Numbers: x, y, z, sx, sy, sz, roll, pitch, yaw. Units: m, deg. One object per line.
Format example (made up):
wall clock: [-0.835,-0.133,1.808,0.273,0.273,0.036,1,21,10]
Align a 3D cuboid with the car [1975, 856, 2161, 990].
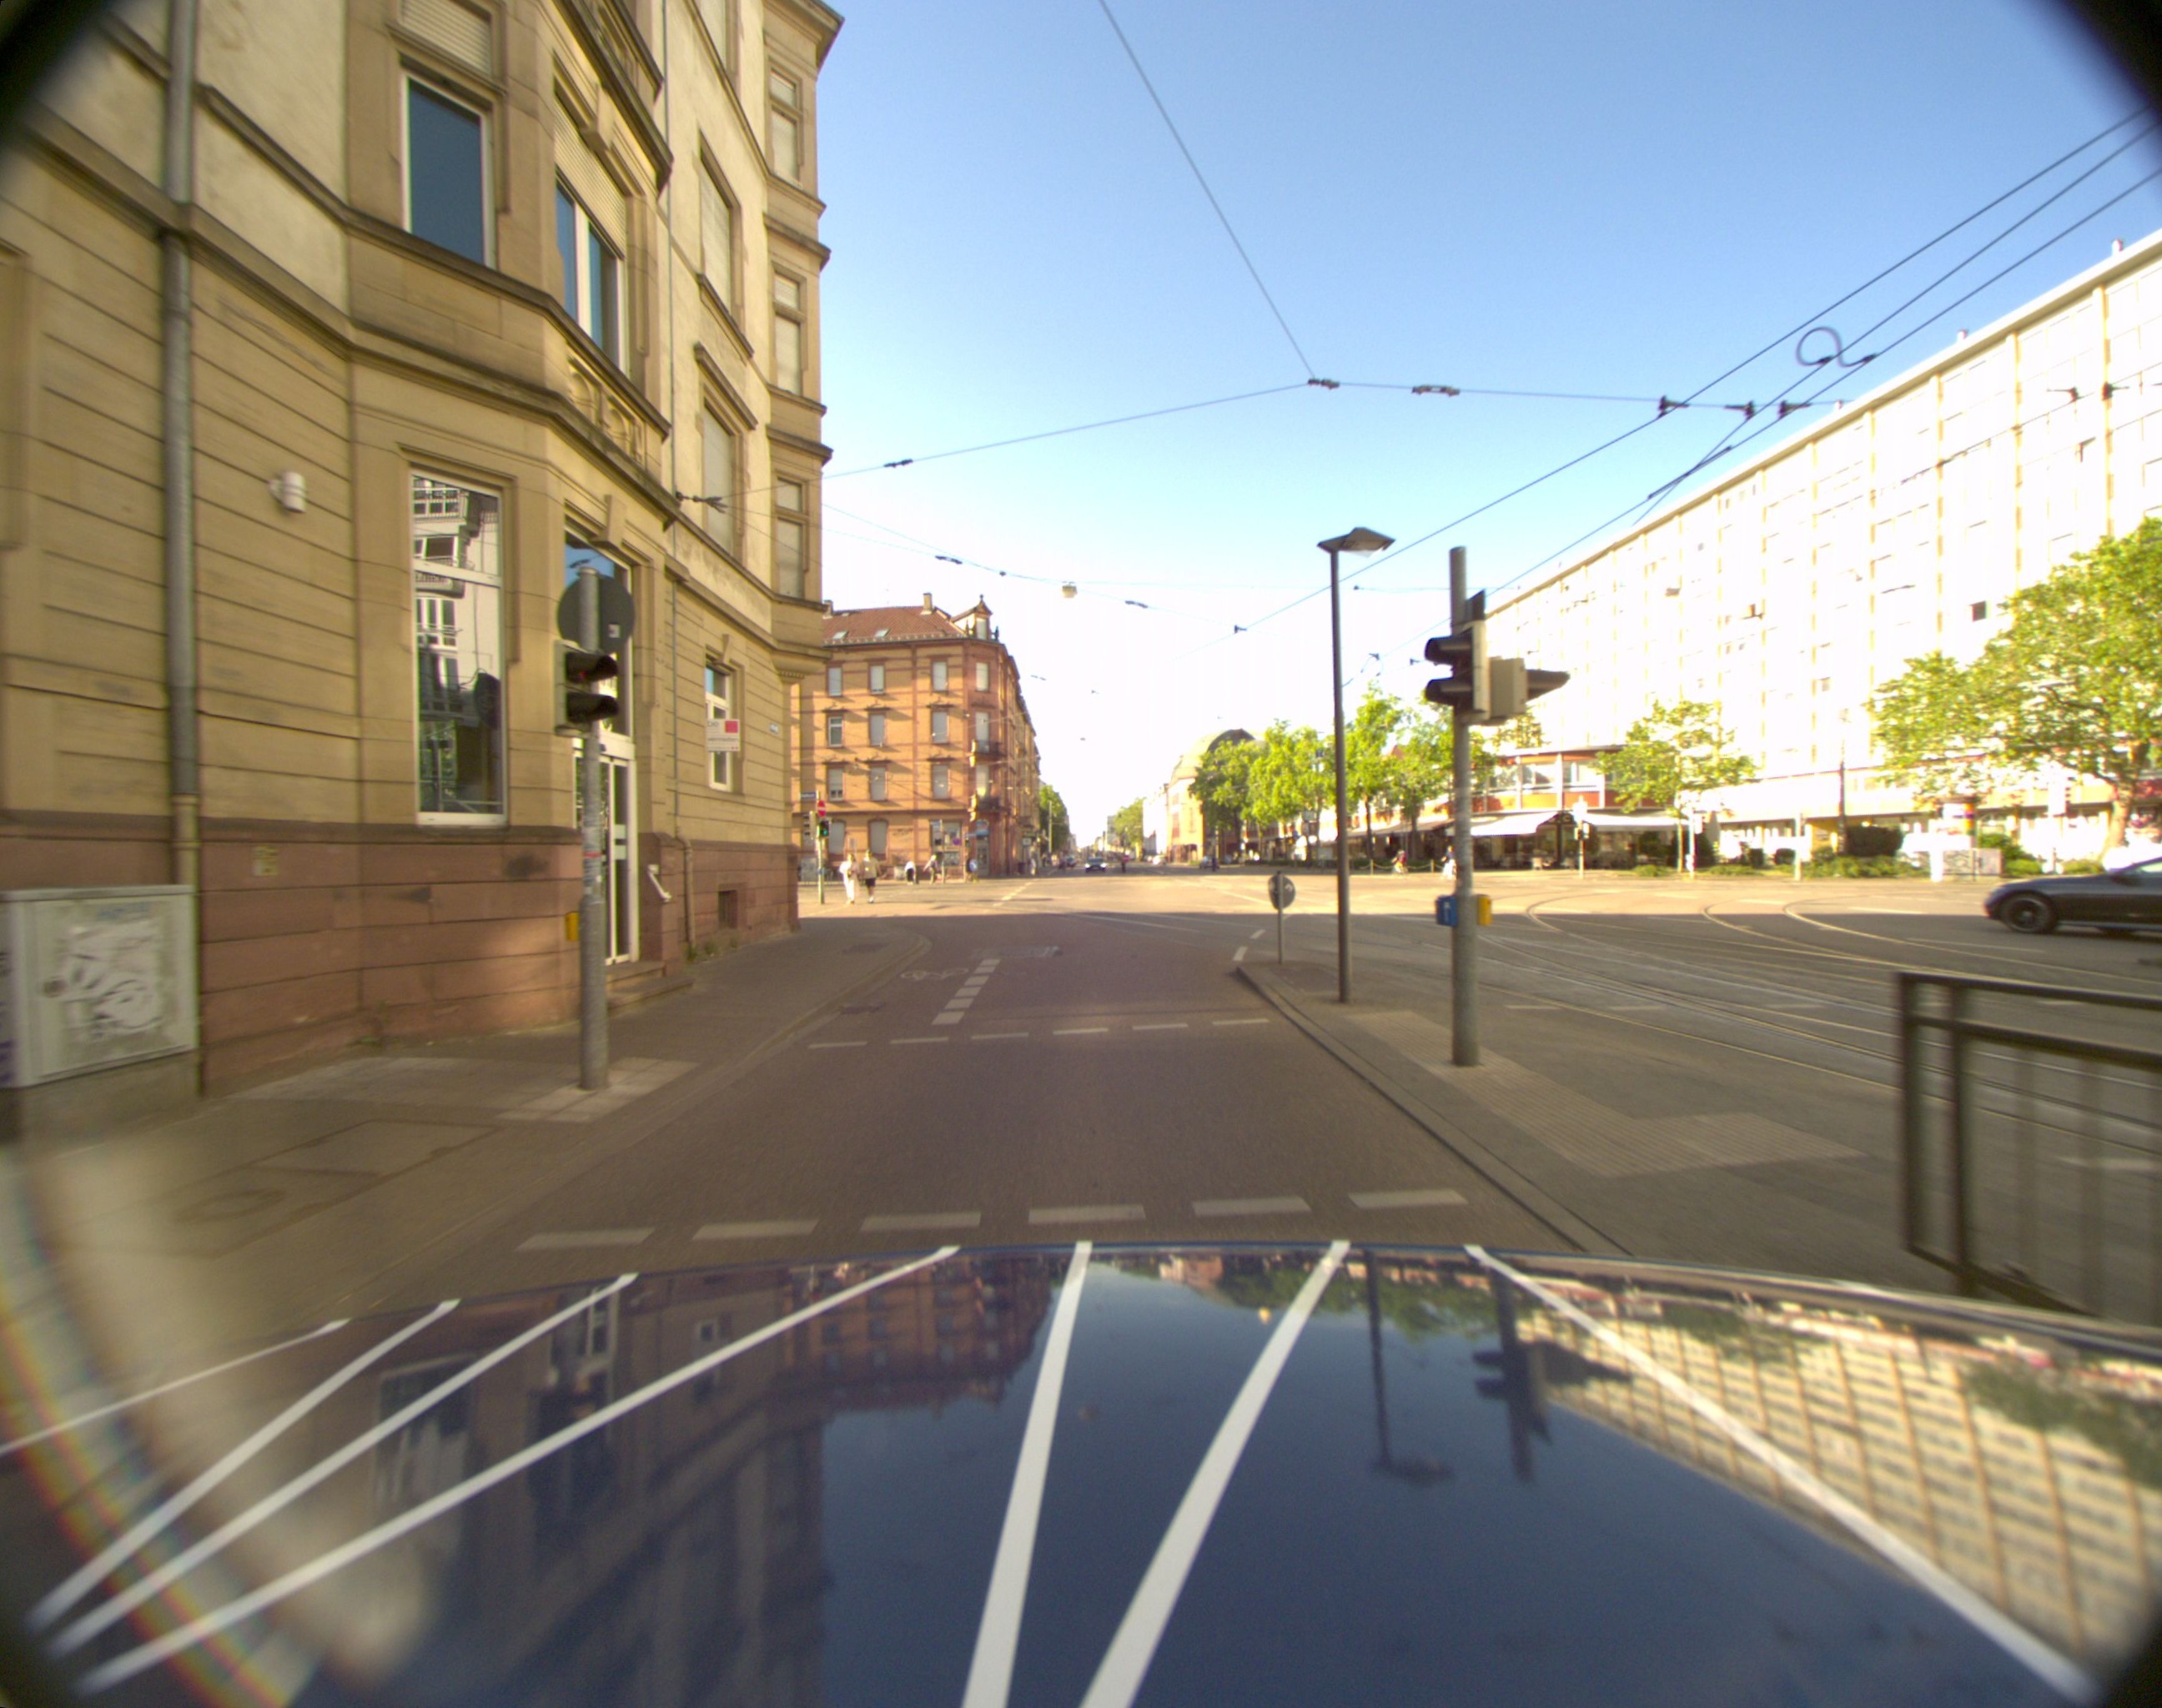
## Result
car: [16.732,1.006,10.957,2.233,1.900,4.608,0,1,0]

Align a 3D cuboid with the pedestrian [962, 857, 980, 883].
pedestrian: [-6.687,0.969,46.266,0.633,1.529,0.943,1,2,32]

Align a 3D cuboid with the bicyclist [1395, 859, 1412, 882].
bicyclist: [18.894,0.952,44.576,0.590,1.278,0.927,0,2,1]

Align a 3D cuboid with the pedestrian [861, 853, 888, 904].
pedestrian: [-6.758,0.792,24.896,0.702,1.645,0.632,0,2,3]

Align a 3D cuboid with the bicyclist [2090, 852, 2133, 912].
bicyclist: [26.470,0.708,19.514,0.929,1.479,0.589,-1,2,-34]

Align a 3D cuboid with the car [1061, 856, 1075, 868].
car: [-1.689,1.011,97.923,1.694,1.442,4.359,-2,0,0]

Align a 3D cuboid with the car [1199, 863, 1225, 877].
car: [14.513,1.719,84.104,1.999,1.443,4.649,0,0,-1]

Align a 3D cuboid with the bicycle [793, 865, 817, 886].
bicycle: [-16.233,1.234,44.696,0.650,1.202,2.311,0,-1,-2]

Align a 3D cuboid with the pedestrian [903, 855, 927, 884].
pedestrian: [-9.386,0.866,42.898,0.927,1.623,1.006,-1,2,-40]

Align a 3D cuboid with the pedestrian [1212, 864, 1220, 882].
pedestrian: [11.663,1.635,65.606,0.501,1.509,0.859,2,1,0]

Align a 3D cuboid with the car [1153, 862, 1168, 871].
car: [13.299,2.081,127.741,1.999,1.443,4.501,0,0,-1]

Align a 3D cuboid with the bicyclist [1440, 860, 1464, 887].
bicyclist: [17.977,0.923,36.865,0.590,1.278,0.991,0,2,-6]

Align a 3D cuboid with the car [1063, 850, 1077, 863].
car: [-1.634,0.363,110.052,1.694,1.703,4.616,-2,1,3]

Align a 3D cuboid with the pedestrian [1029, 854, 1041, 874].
pedestrian: [-3.745,0.785,61.811,0.684,1.598,0.729,0,1,-25]

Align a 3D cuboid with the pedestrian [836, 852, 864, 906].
pedestrian: [-7.570,0.809,24.896,0.645,1.735,0.705,-2,2,0]

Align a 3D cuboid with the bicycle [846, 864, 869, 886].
bicycle: [-13.123,1.230,44.726,0.753,1.202,2.311,0,0,-2]

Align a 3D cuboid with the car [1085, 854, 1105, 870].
car: [1.320,0.708,72.665,1.815,1.415,4.153,-2,0,0]

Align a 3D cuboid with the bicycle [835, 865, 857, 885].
bicycle: [-13.937,1.227,45.059,0.650,1.202,2.311,0,-1,-2]

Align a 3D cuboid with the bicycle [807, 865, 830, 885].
bicycle: [-15.497,1.226,44.919,0.650,1.202,2.311,0,-1,-2]

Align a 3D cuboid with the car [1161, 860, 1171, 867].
car: [18.315,2.079,163.616,1.753,1.445,3.471,-1,0,-1]

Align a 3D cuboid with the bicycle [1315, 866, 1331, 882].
bicycle: [18.598,1.503,58.497,0.498,1.179,2.235,0,0,-1]

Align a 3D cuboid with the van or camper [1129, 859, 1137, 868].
van or camper: [16.058,2.827,233.345,2.041,2.723,7.020,1,0,0]

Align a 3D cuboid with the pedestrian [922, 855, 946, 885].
pedestrian: [-8.082,0.855,41.775,0.939,1.623,0.927,1,2,36]

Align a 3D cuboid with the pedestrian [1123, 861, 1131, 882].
pedestrian: [3.837,1.471,63.763,0.559,1.753,0.895,2,1,0]

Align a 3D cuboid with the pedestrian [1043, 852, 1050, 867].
pedestrian: [-4.738,0.743,104.308,0.686,1.901,1.063,-2,2,3]

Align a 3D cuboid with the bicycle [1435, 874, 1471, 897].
bicycle: [18.104,1.523,37.018,0.596,0.967,1.853,0,1,-7]

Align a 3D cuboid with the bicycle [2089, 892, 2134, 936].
bicycle: [26.511,1.531,19.542,2.016,0.967,0.594,-1,2,-34]

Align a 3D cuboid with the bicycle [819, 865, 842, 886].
bicycle: [-14.781,1.246,44.958,0.650,1.202,2.311,0,-1,-2]

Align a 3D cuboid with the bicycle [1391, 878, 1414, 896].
bicycle: [18.904,1.932,44.760,0.595,0.967,1.817,0,1,1]

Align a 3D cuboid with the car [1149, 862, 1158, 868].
car: [18.162,2.668,189.588,1.856,1.445,3.853,-1,0,1]

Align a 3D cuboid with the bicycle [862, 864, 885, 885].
bicycle: [-12.104,1.186,44.367,0.753,1.202,2.311,0,-1,-2]

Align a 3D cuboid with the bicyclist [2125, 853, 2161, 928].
bicyclist: [23.365,0.778,16.569,0.897,1.576,0.588,-1,2,-40]

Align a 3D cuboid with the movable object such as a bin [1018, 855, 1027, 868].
movable object such as a bin: [-4.965,0.663,64.614,0.664,1.066,0.545,3,1,3]

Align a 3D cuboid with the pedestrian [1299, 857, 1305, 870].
pedestrian: [28.177,1.221,96.897,0.574,1.740,0.706,0,1,2]

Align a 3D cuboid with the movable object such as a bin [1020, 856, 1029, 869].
movable object such as a bin: [-4.885,0.736,65.208,0.664,1.066,0.591,3,1,3]
